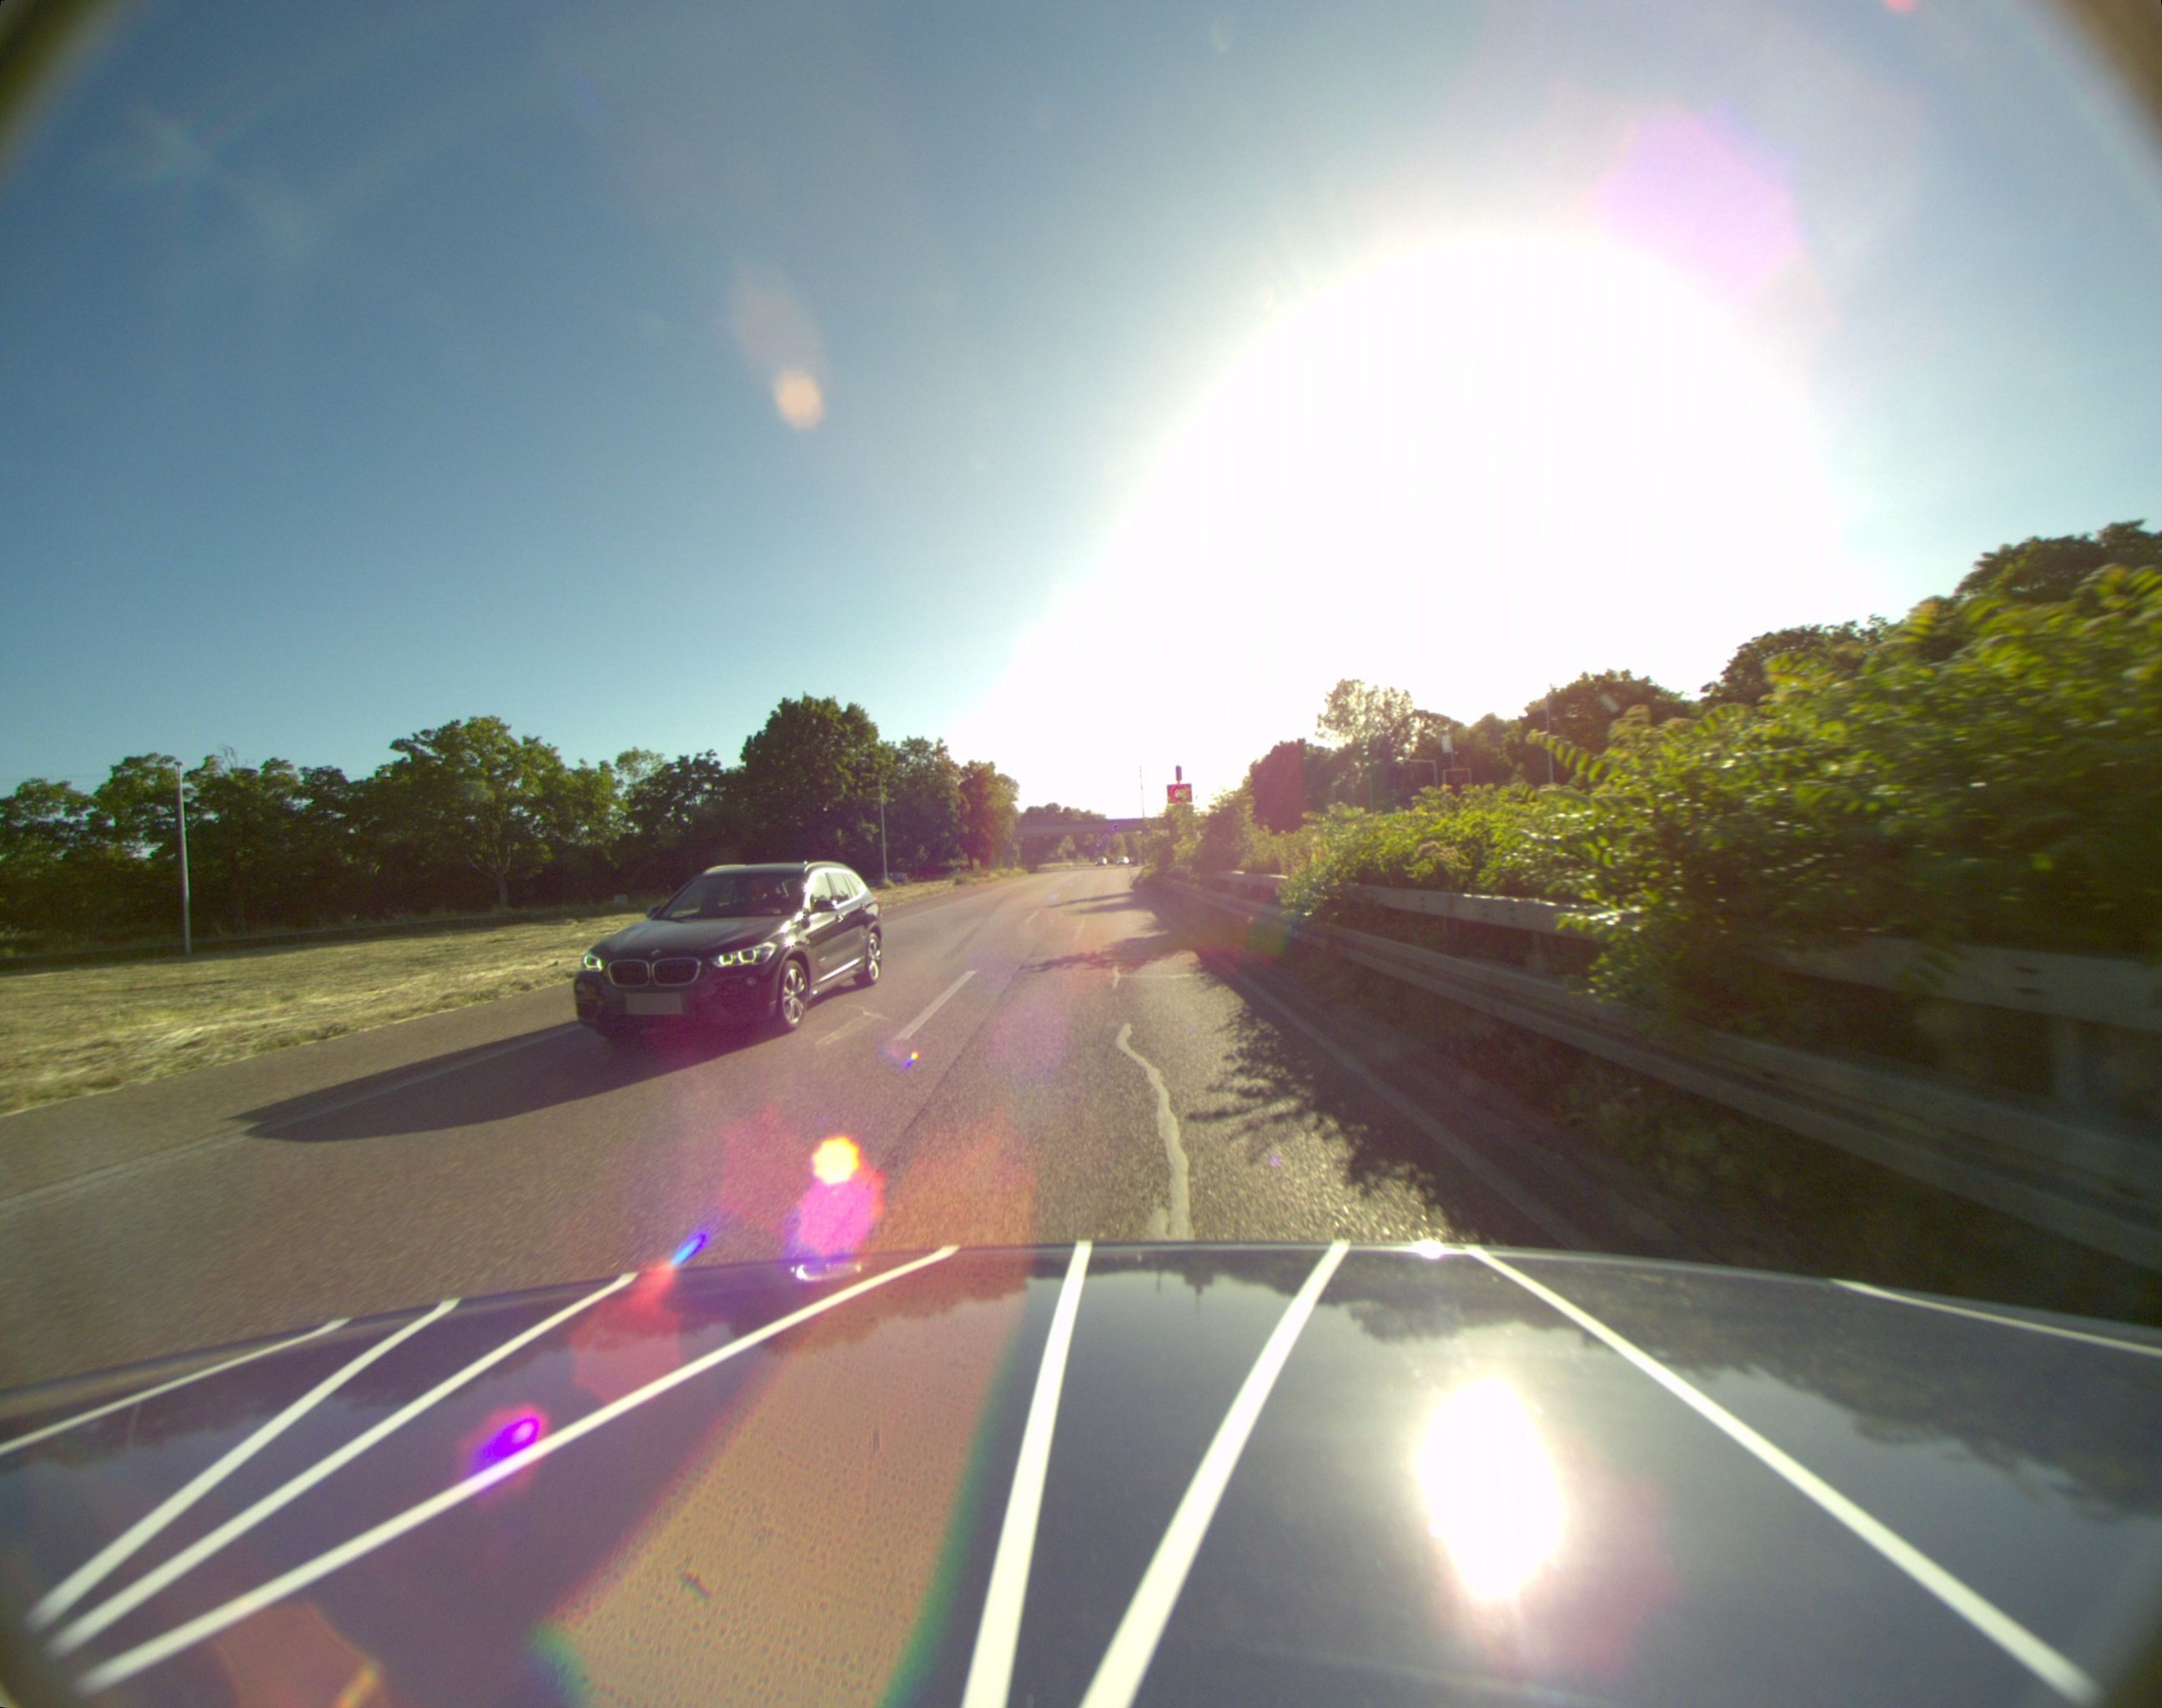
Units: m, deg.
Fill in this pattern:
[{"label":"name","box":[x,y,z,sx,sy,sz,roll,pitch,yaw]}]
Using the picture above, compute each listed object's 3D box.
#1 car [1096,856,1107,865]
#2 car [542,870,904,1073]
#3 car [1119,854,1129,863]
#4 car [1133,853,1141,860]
[{"label":"car","box":[3.597,1.068,132.501,1.682,1.412,3.671,-3,0,4]},{"label":"car","box":[-3.521,1.034,8.597,1.759,1.564,4.521,-2,0,2]},{"label":"car","box":[7.451,0.789,131.553,1.725,1.412,3.670,-3,0,4]},{"label":"car","box":[11.981,0.550,162.151,1.725,1.412,3.671,-3,0,5]}]
